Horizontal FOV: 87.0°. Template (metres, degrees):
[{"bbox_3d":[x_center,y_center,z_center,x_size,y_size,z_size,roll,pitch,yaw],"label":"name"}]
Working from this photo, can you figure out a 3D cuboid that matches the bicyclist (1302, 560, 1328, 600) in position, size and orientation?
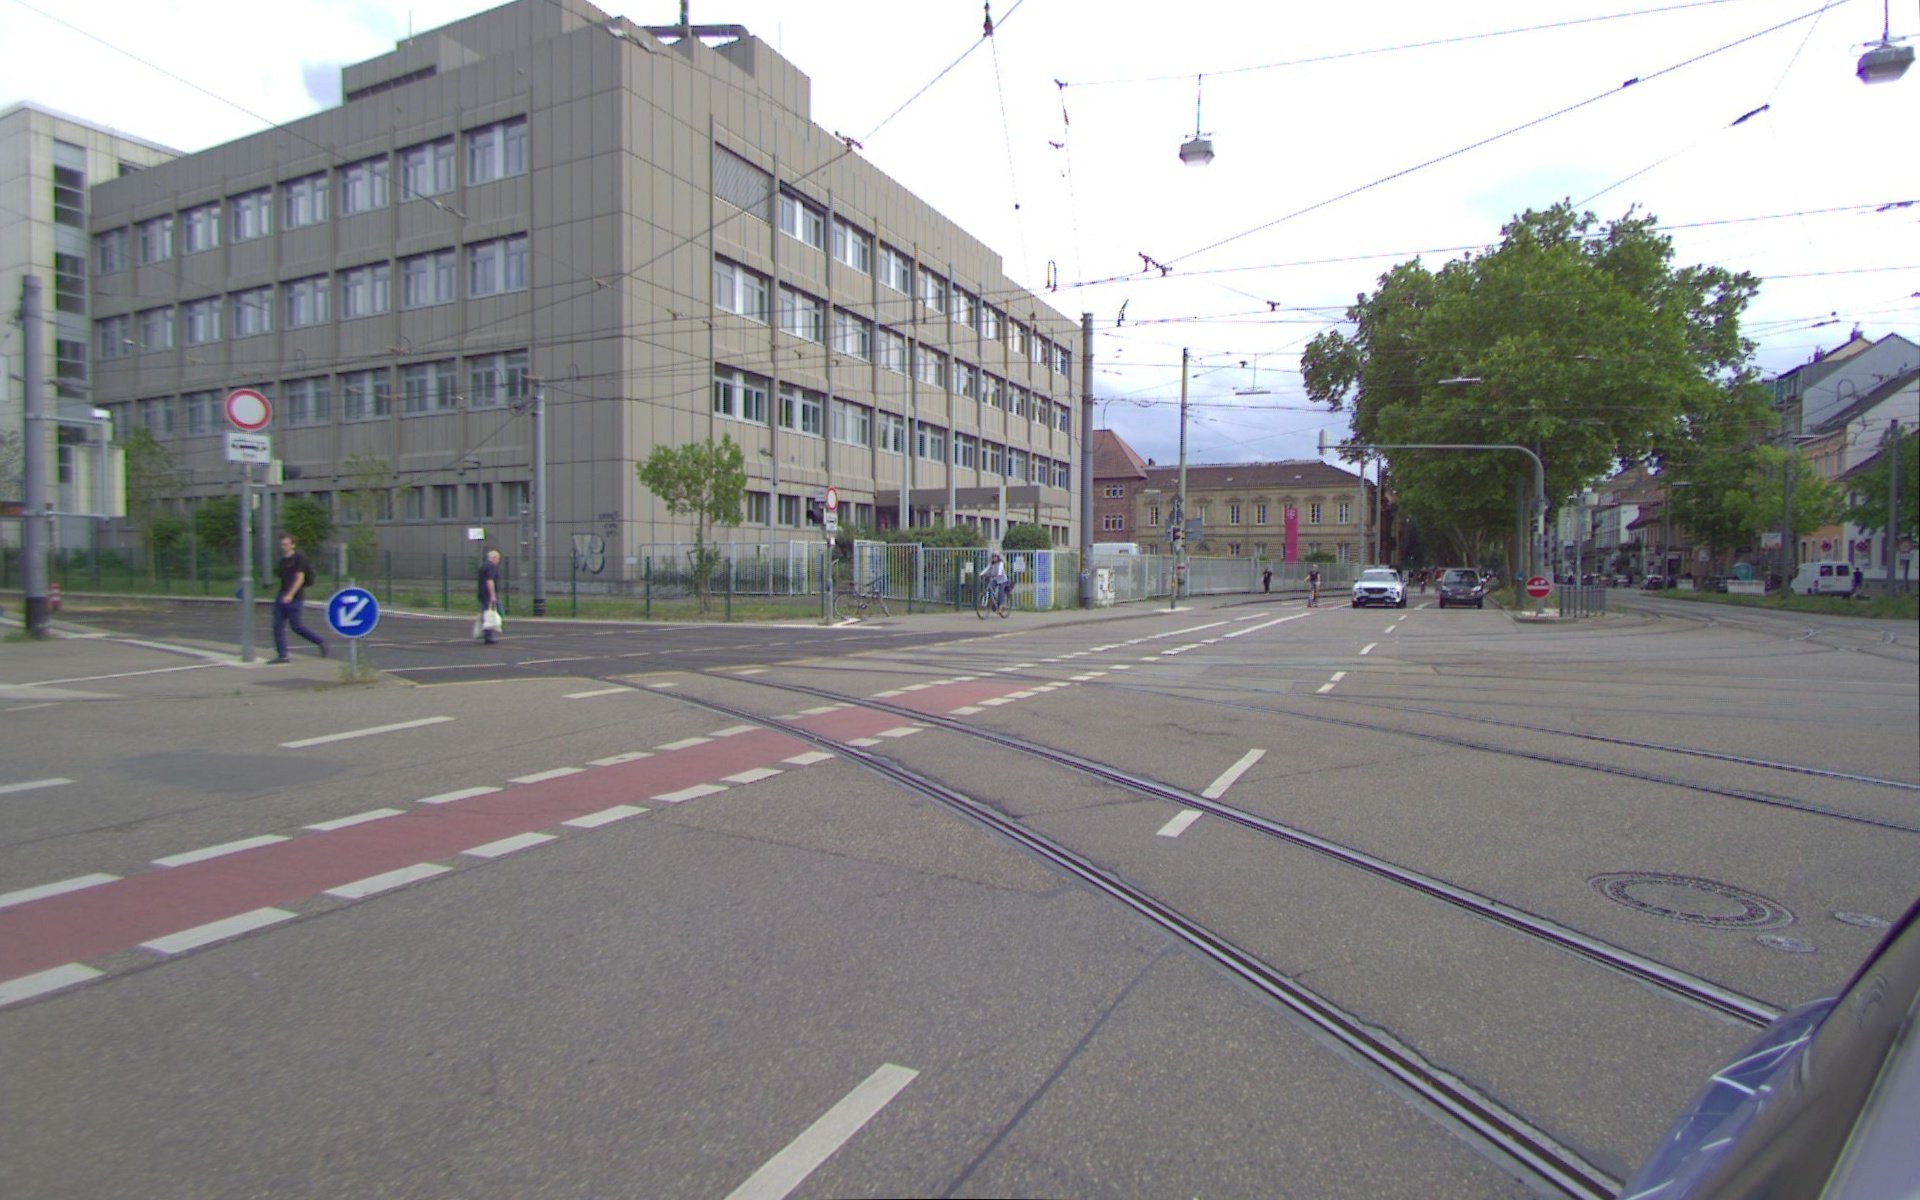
[{"bbox_3d":[14.301,-0.828,40.750,0.796,1.568,1.316,1,3,29],"label":"bicyclist"}]

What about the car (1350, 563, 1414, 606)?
[{"bbox_3d":[16.564,-0.658,39.586,1.981,1.523,4.380,1,3,27],"label":"car"}]

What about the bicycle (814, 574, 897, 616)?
[{"bbox_3d":[-2.846,-0.142,27.654,2.114,0.992,0.636,-4,3,-20],"label":"bicycle"}]

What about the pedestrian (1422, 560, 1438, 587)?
[{"bbox_3d":[33.528,-1.926,72.248,0.831,1.888,1.161,1,2,35],"label":"pedestrian"}]

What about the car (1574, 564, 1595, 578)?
[{"bbox_3d":[89.285,-4.170,144.758,2.076,1.889,4.383,1,3,26],"label":"car"}]

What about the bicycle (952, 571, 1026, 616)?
[{"bbox_3d":[0.794,-0.187,26.763,0.799,1.099,2.153,2,3,40],"label":"bicycle"}]

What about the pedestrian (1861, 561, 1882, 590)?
[{"bbox_3d":[58.158,-1.580,64.564,0.761,1.803,0.759,1,2,26],"label":"pedestrian"}]

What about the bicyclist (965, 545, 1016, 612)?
[{"bbox_3d":[0.818,-0.584,26.754,0.799,1.722,1.165,2,3,41],"label":"bicyclist"}]

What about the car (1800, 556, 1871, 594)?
[{"bbox_3d":[52.986,-1.547,61.356,2.076,2.216,4.384,1,3,25],"label":"car"}]

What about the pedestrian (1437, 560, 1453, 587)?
[{"bbox_3d":[34.393,-1.894,71.726,0.831,1.888,1.236,1,2,35],"label":"pedestrian"}]

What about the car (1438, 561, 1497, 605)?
[{"bbox_3d":[19.769,-0.721,39.328,1.821,1.585,4.375,1,3,30],"label":"car"}]

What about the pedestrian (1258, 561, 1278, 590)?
[{"bbox_3d":[17.415,-1.388,57.218,0.877,1.588,0.969,1,3,32],"label":"pedestrian"}]

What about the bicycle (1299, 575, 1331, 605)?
[{"bbox_3d":[14.330,-0.431,40.829,0.796,1.099,2.537,1,3,29],"label":"bicycle"}]

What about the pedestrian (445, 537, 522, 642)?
[{"bbox_3d":[-8.831,-0.215,18.784,0.897,1.878,0.979,2,3,38],"label":"pedestrian"}]

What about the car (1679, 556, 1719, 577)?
[{"bbox_3d":[66.169,-3.014,90.671,2.076,1.829,4.384,1,3,25],"label":"car"}]

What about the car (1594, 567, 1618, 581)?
[{"bbox_3d":[85.179,-3.426,133.413,2.076,1.829,4.384,1,3,25],"label":"car"}]

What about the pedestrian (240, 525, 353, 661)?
[{"bbox_3d":[-9.786,-0.130,14.951,0.894,1.921,1.078,1,3,30],"label":"pedestrian"}]

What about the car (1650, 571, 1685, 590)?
[{"bbox_3d":[70.294,-1.955,100.576,2.076,1.829,4.384,1,3,25],"label":"car"}]

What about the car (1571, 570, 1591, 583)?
[{"bbox_3d":[95.595,-3.671,155.842,2.077,1.889,4.382,1,3,26],"label":"car"}]

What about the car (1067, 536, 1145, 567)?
[{"bbox_3d":[11.840,-3.919,81.919,5.833,2.428,2.550,1,2,23],"label":"car"}]

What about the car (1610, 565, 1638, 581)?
[{"bbox_3d":[80.050,-3.281,122.029,2.076,1.829,4.384,1,3,25],"label":"car"}]
